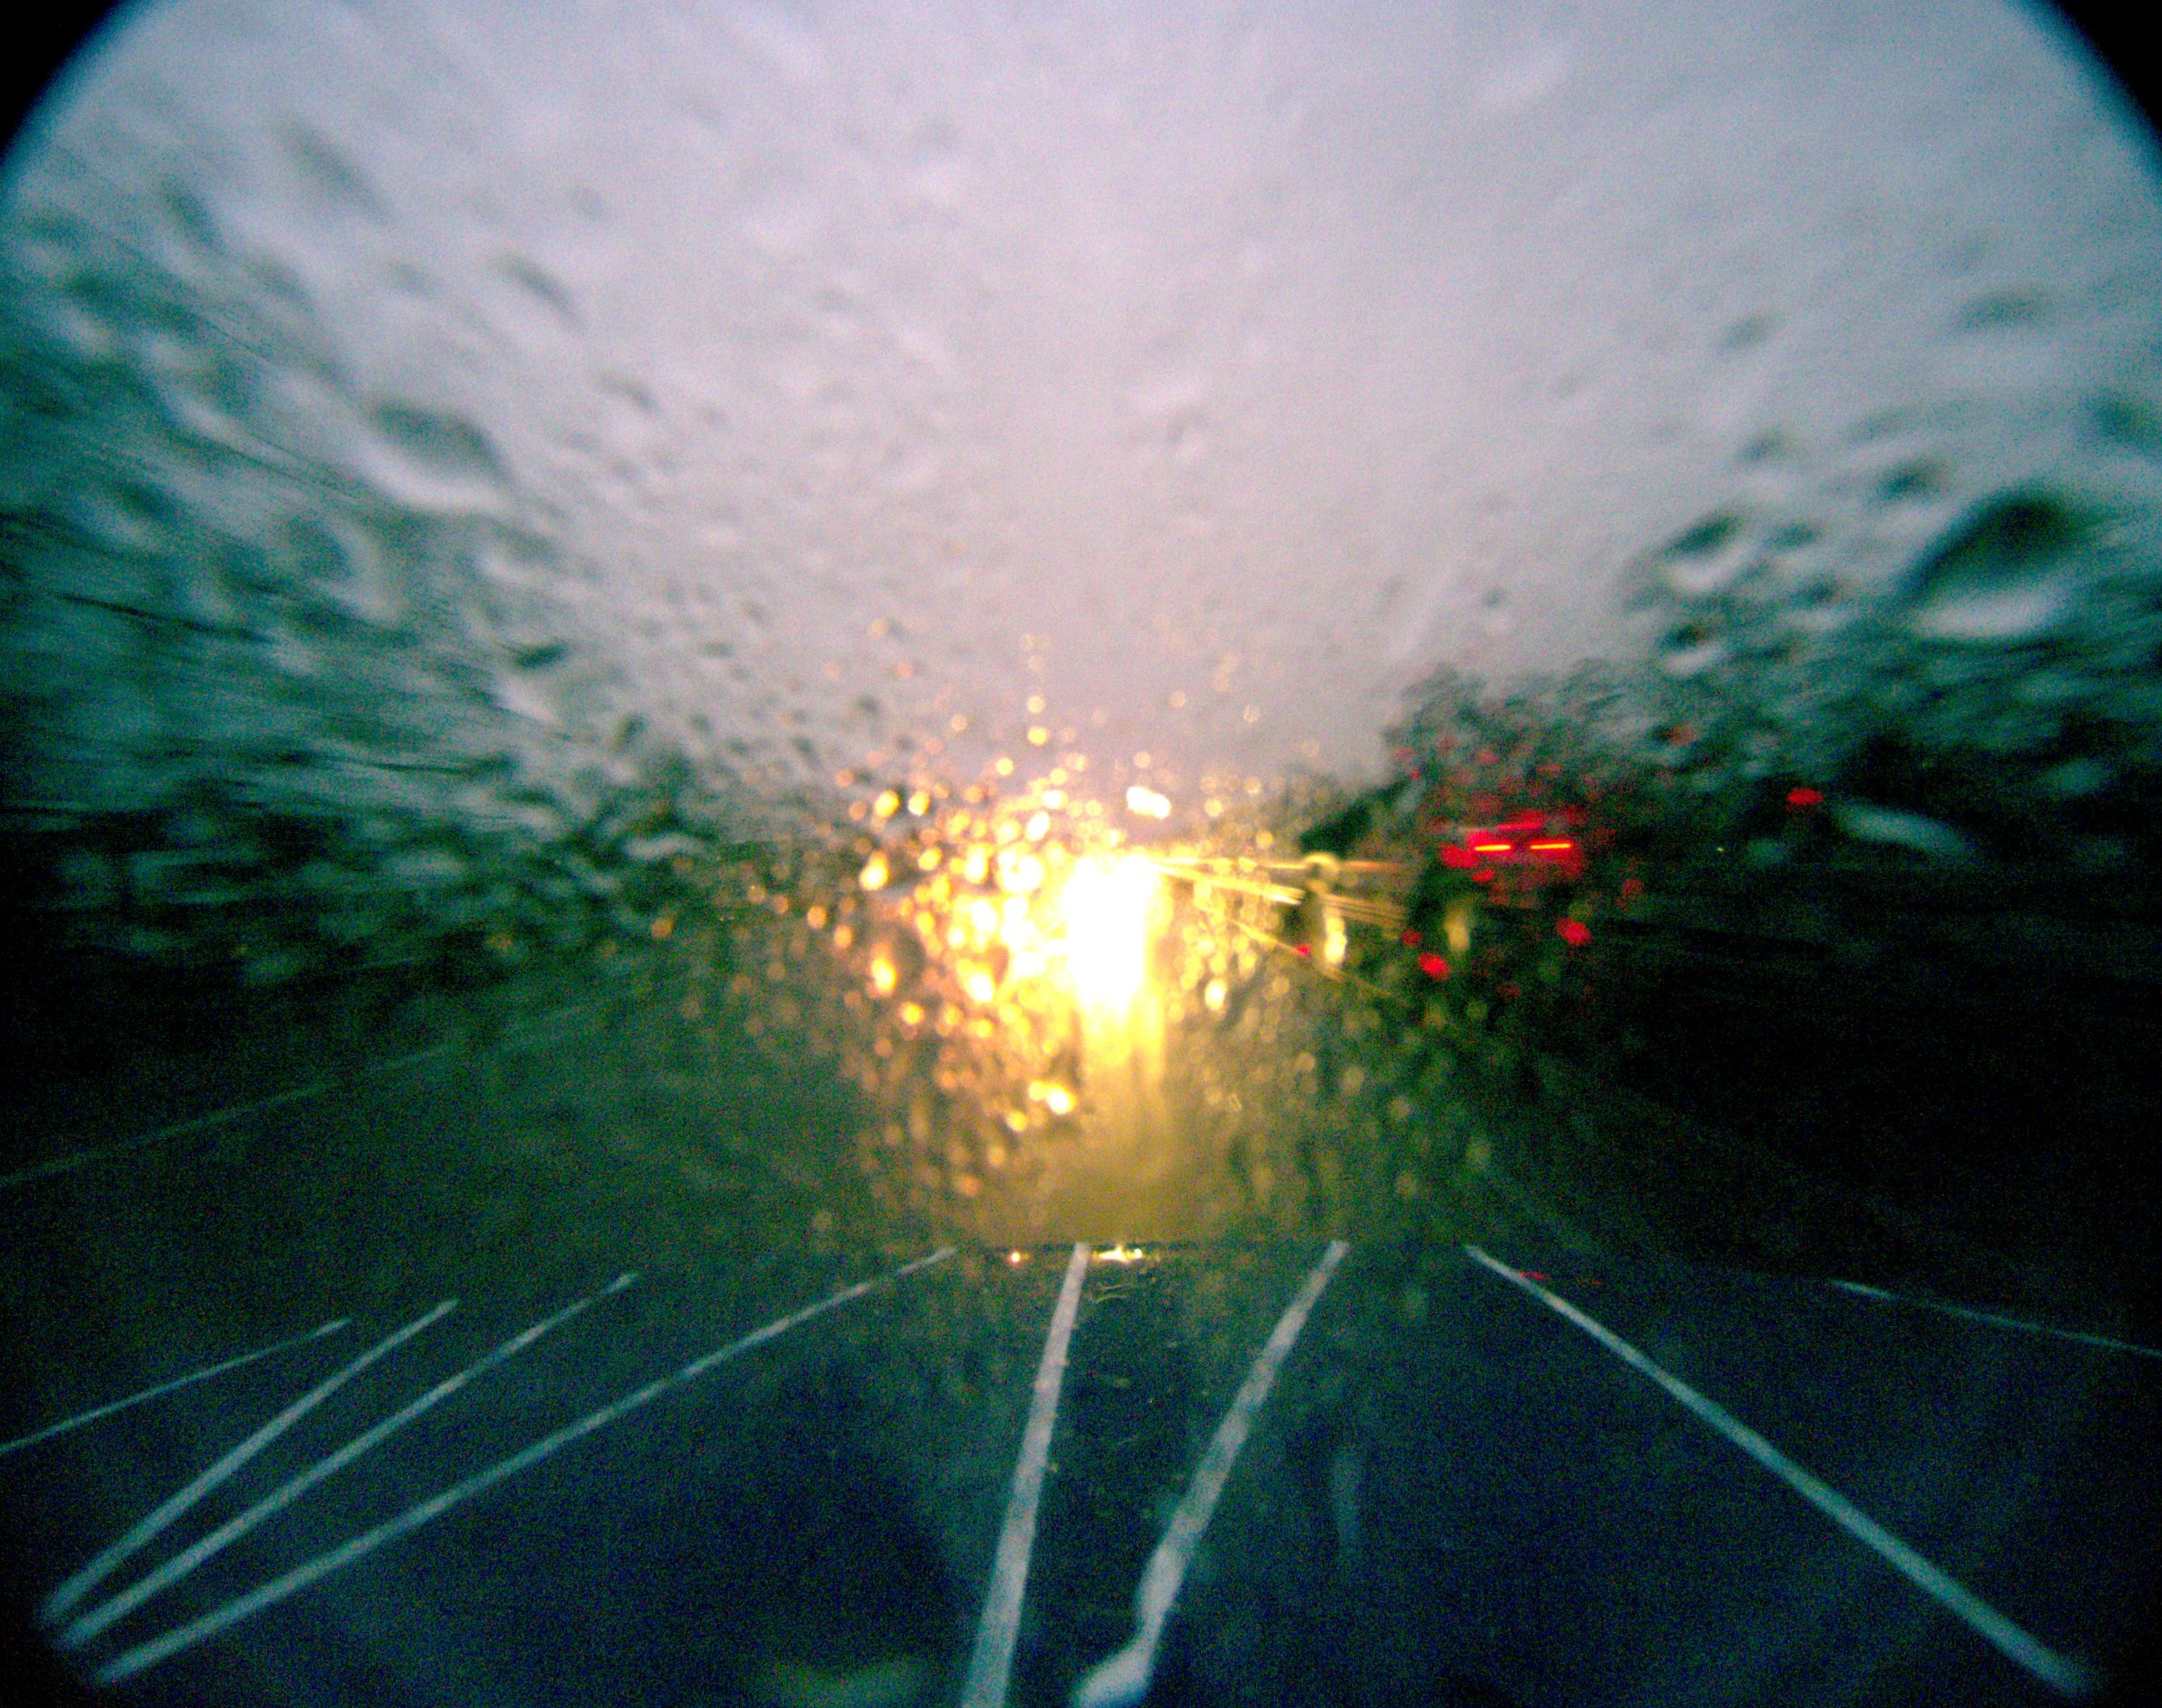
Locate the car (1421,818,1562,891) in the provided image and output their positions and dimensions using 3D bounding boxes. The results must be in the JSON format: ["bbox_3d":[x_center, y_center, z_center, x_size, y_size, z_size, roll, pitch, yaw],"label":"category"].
[{"bbox_3d":[12.262,-0.034,23.069,1.939,1.962,4.537,-2,1,2],"label":"car"}]

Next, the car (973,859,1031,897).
[{"bbox_3d":[-3.458,1.016,34.005,1.850,1.521,4.149,-2,0,3],"label":"car"}]

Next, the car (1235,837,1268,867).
[{"bbox_3d":[14.672,-0.177,65.659,1.850,2.422,5.417,-2,0,3],"label":"car"}]

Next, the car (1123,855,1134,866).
[{"bbox_3d":[7.955,1.081,127.320,1.647,1.729,3.533,-4,2,1],"label":"car"}]

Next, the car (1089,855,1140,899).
[{"bbox_3d":[1.356,0.861,30.105,1.850,1.521,4.149,-2,0,3],"label":"car"}]

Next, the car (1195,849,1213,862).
[{"bbox_3d":[15.852,0.198,98.305,1.850,1.520,4.304,-2,0,3],"label":"car"}]

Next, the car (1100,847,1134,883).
[{"bbox_3d":[2.242,0.655,48.286,1.796,2.002,3.724,-5,2,0],"label":"car"}]

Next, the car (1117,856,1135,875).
[{"bbox_3d":[4.625,1.178,78.628,1.647,1.729,3.533,-4,2,1],"label":"car"}]

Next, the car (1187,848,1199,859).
[{"bbox_3d":[20.963,-0.111,142.383,1.850,1.903,4.305,-2,0,3],"label":"car"}]
